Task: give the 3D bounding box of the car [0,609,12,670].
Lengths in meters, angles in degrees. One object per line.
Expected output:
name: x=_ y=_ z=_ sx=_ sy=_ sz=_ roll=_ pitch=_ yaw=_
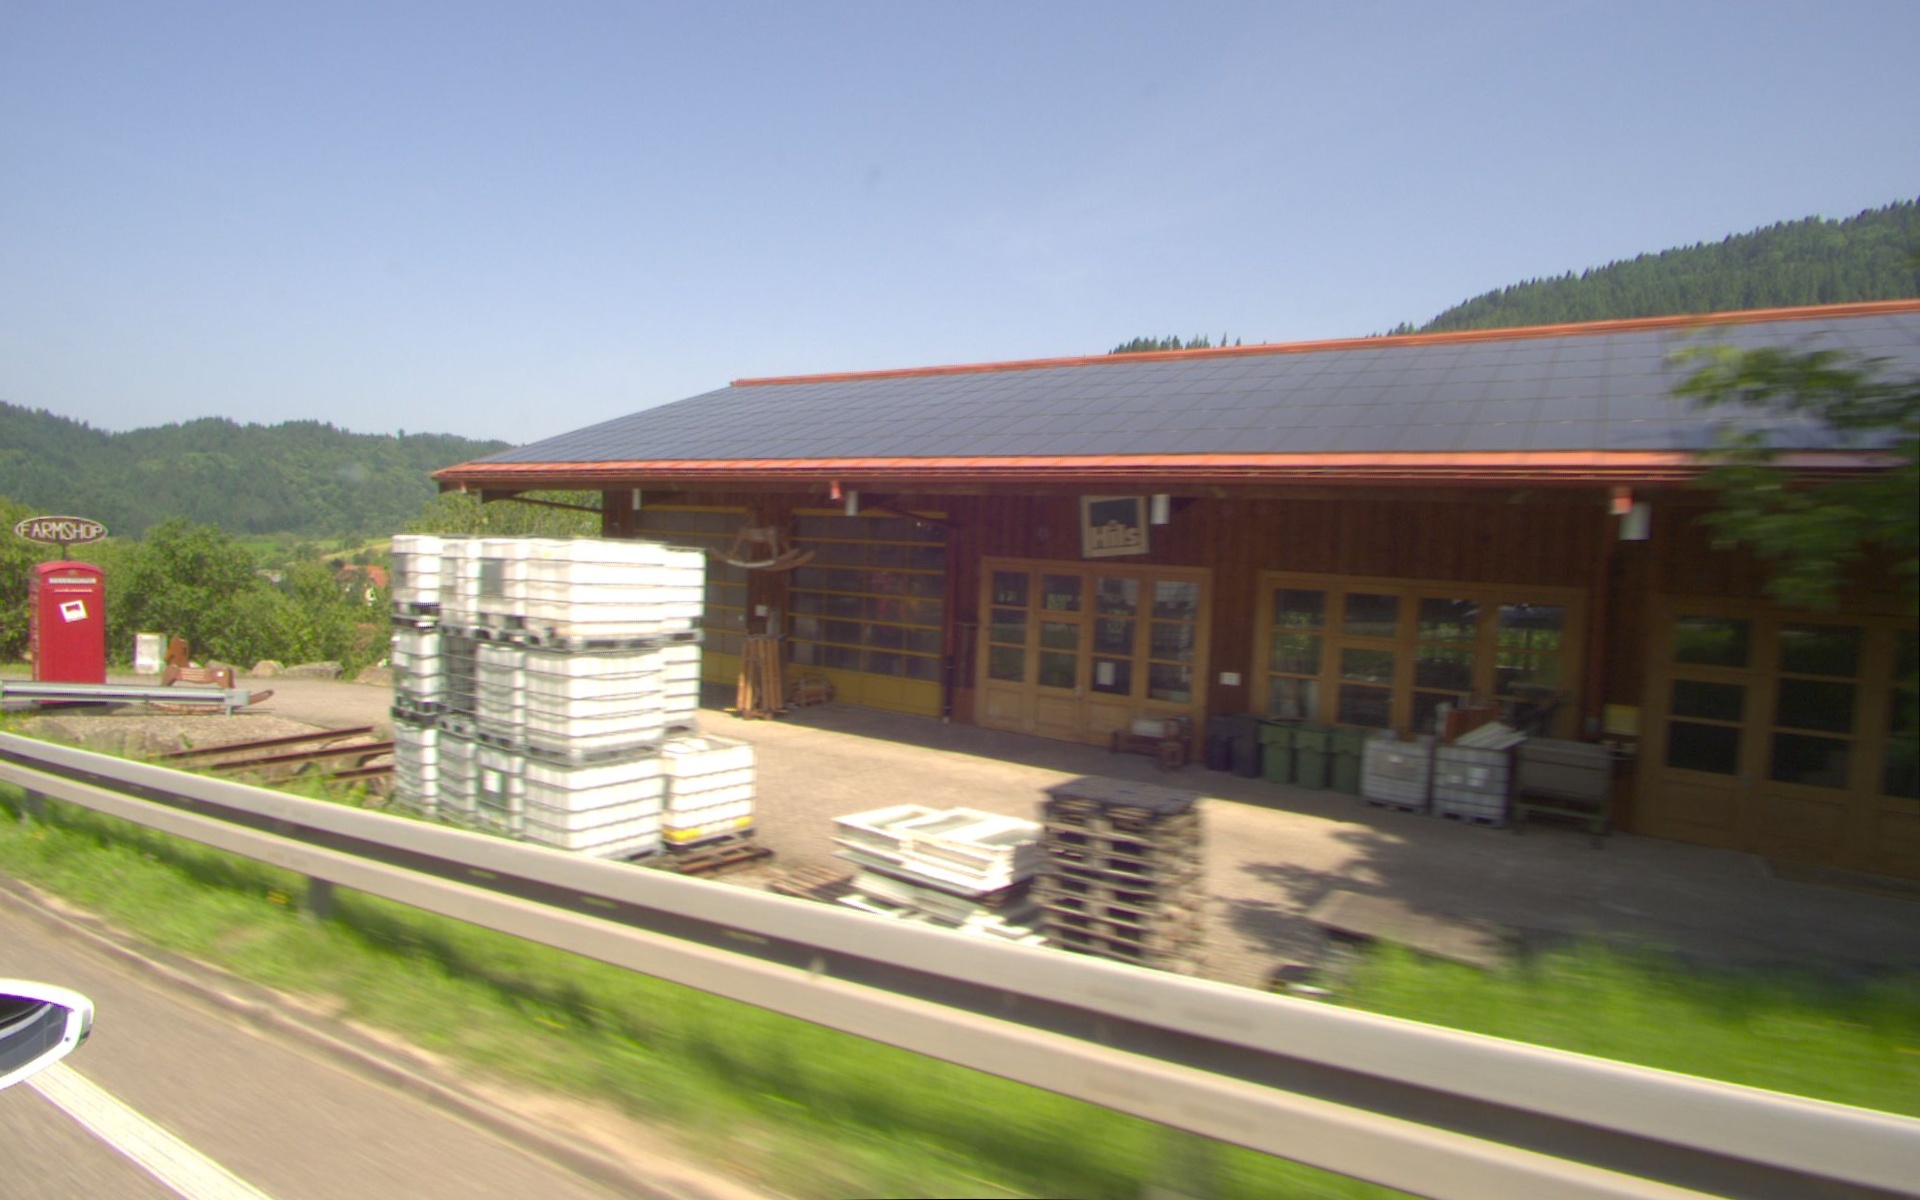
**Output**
car: x=-27.413 y=0.976 z=25.644 sx=4.375 sy=1.591 sz=1.906 roll=1 pitch=-1 yaw=-1
